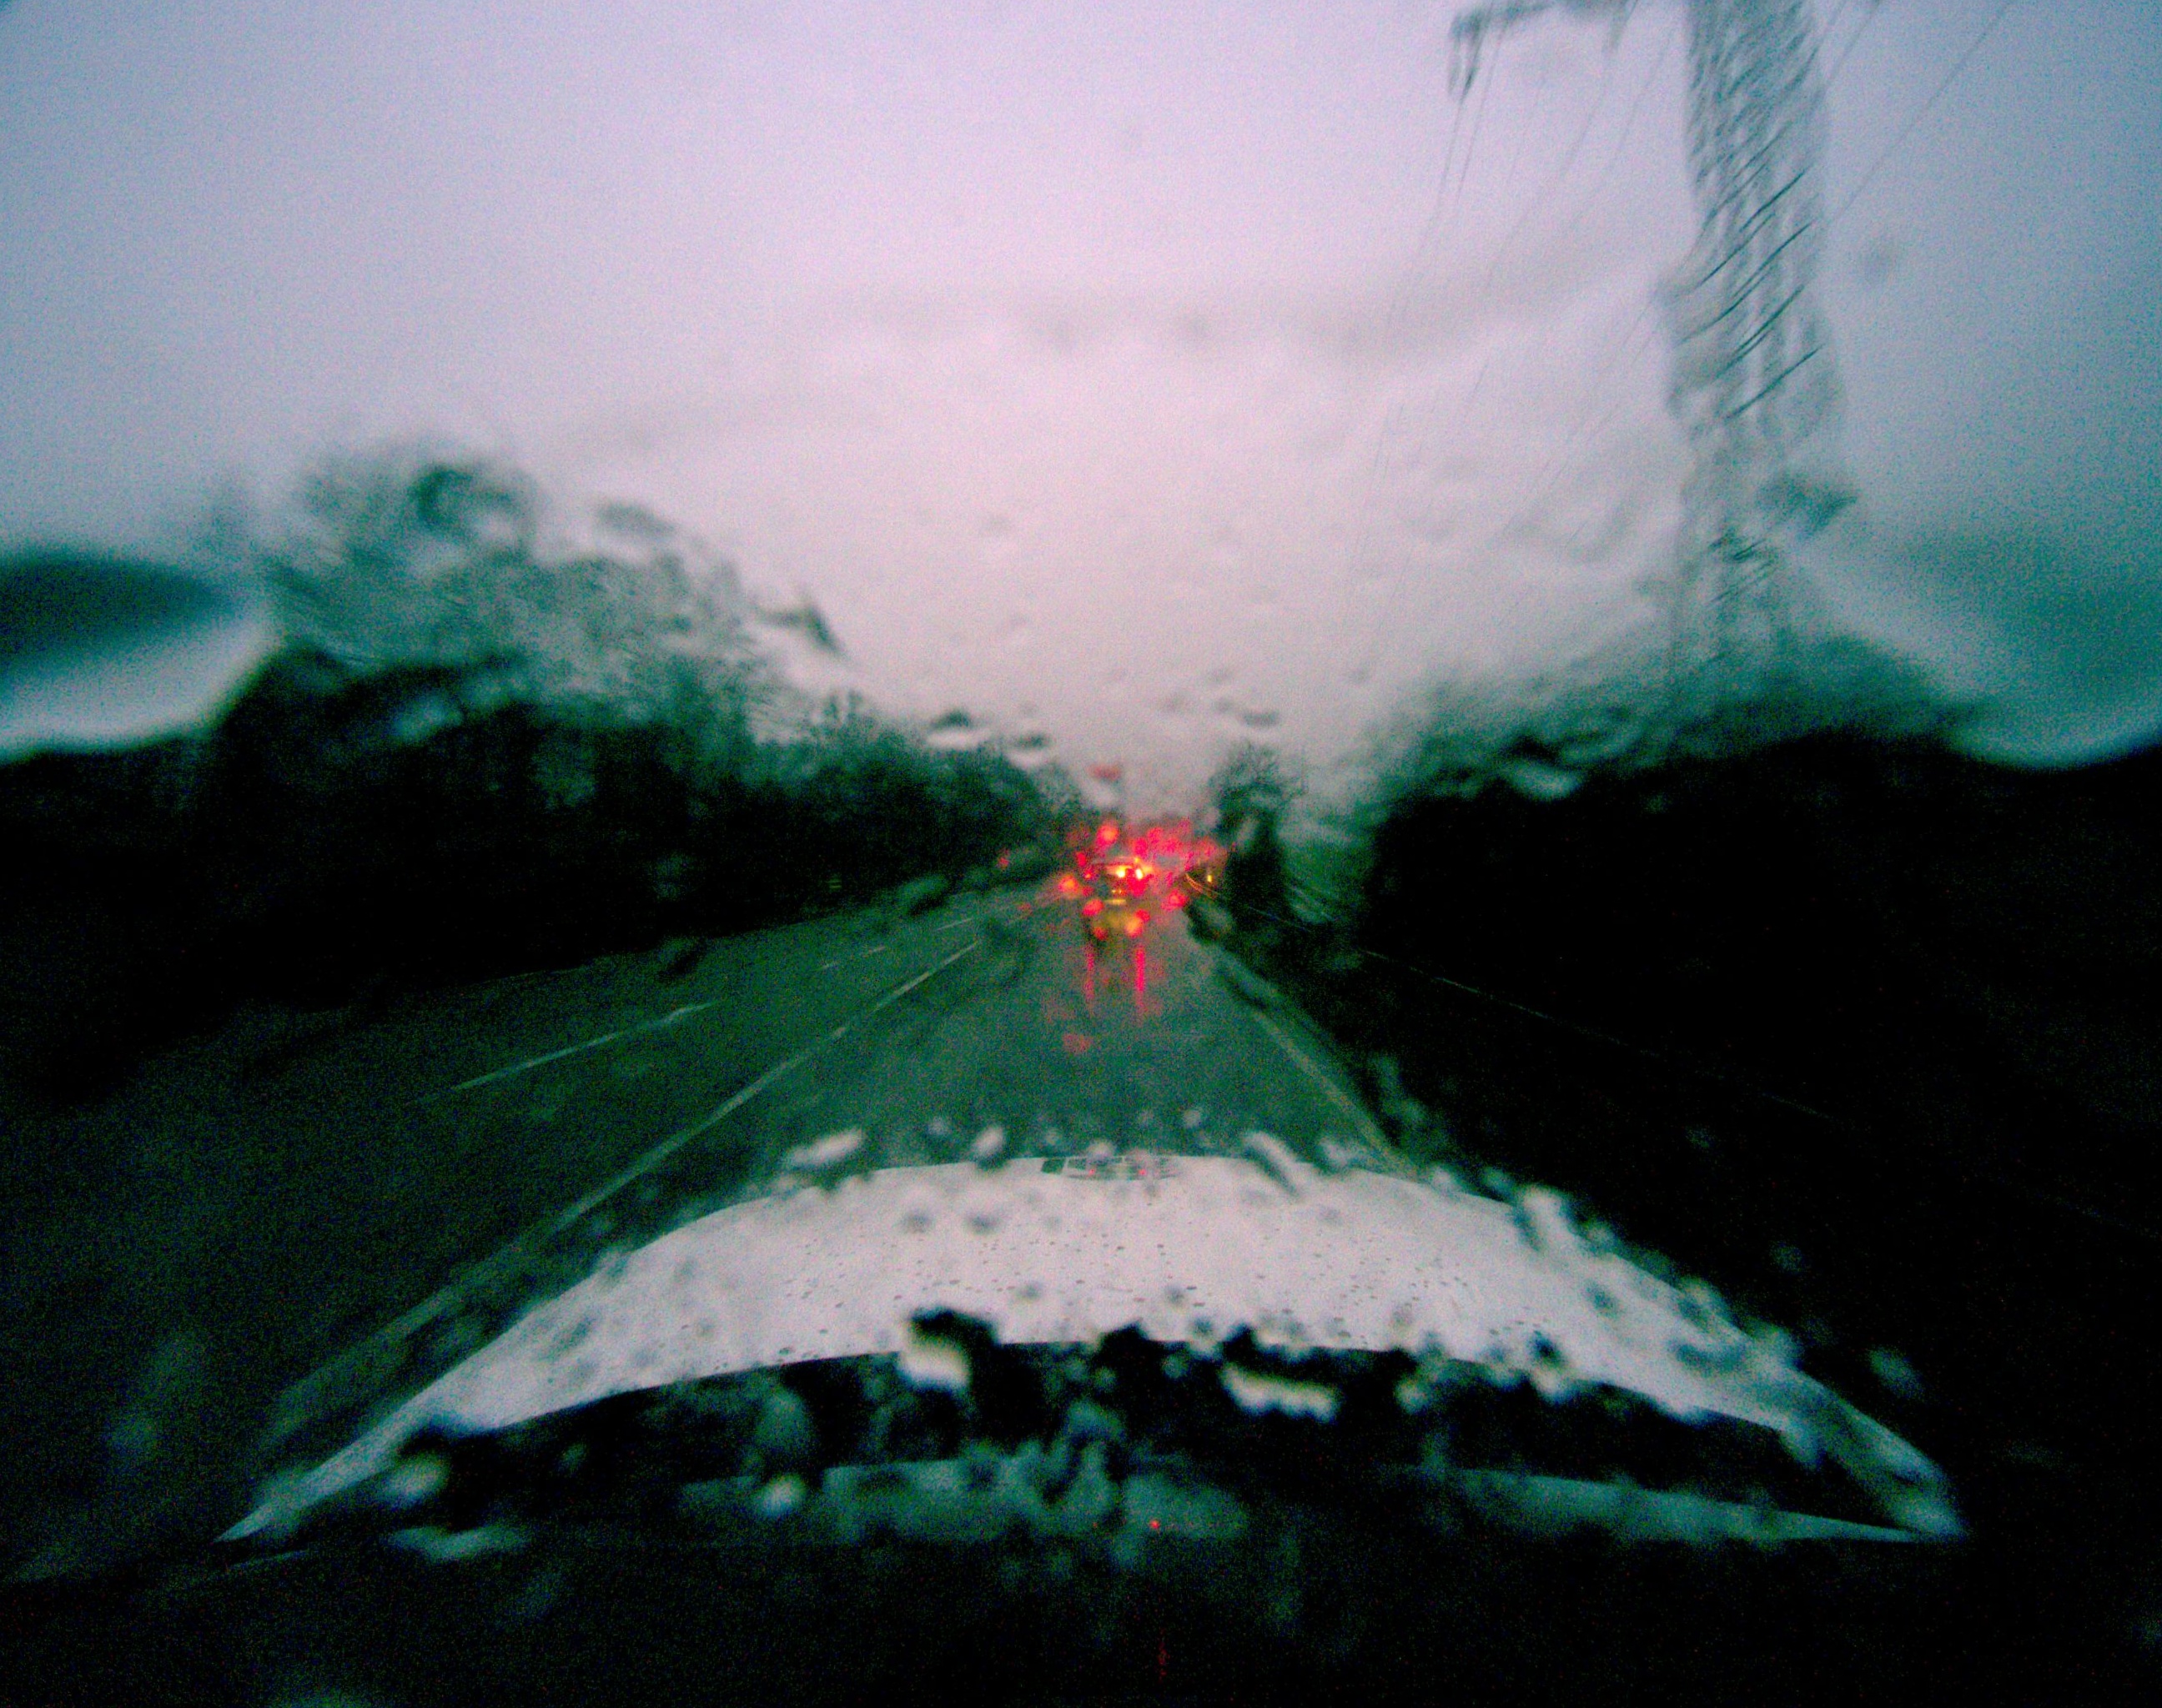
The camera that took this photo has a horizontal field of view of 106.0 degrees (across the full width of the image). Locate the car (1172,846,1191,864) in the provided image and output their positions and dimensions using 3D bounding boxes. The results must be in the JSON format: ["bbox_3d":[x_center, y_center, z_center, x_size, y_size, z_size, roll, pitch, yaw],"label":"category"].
[{"bbox_3d":[10.932,0.107,88.500,1.935,1.744,4.010,-1,3,7],"label":"car"}]

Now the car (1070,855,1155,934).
[{"bbox_3d":[0.711,0.880,19.829,1.724,1.532,4.042,-5,0,1],"label":"car"}]

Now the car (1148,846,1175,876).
[{"bbox_3d":[6.492,0.564,66.103,1.937,2.013,4.006,-7,1,5],"label":"car"}]

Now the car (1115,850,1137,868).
[{"bbox_3d":[4.159,0.428,74.735,1.691,1.575,4.008,-2,0,7],"label":"car"}]
